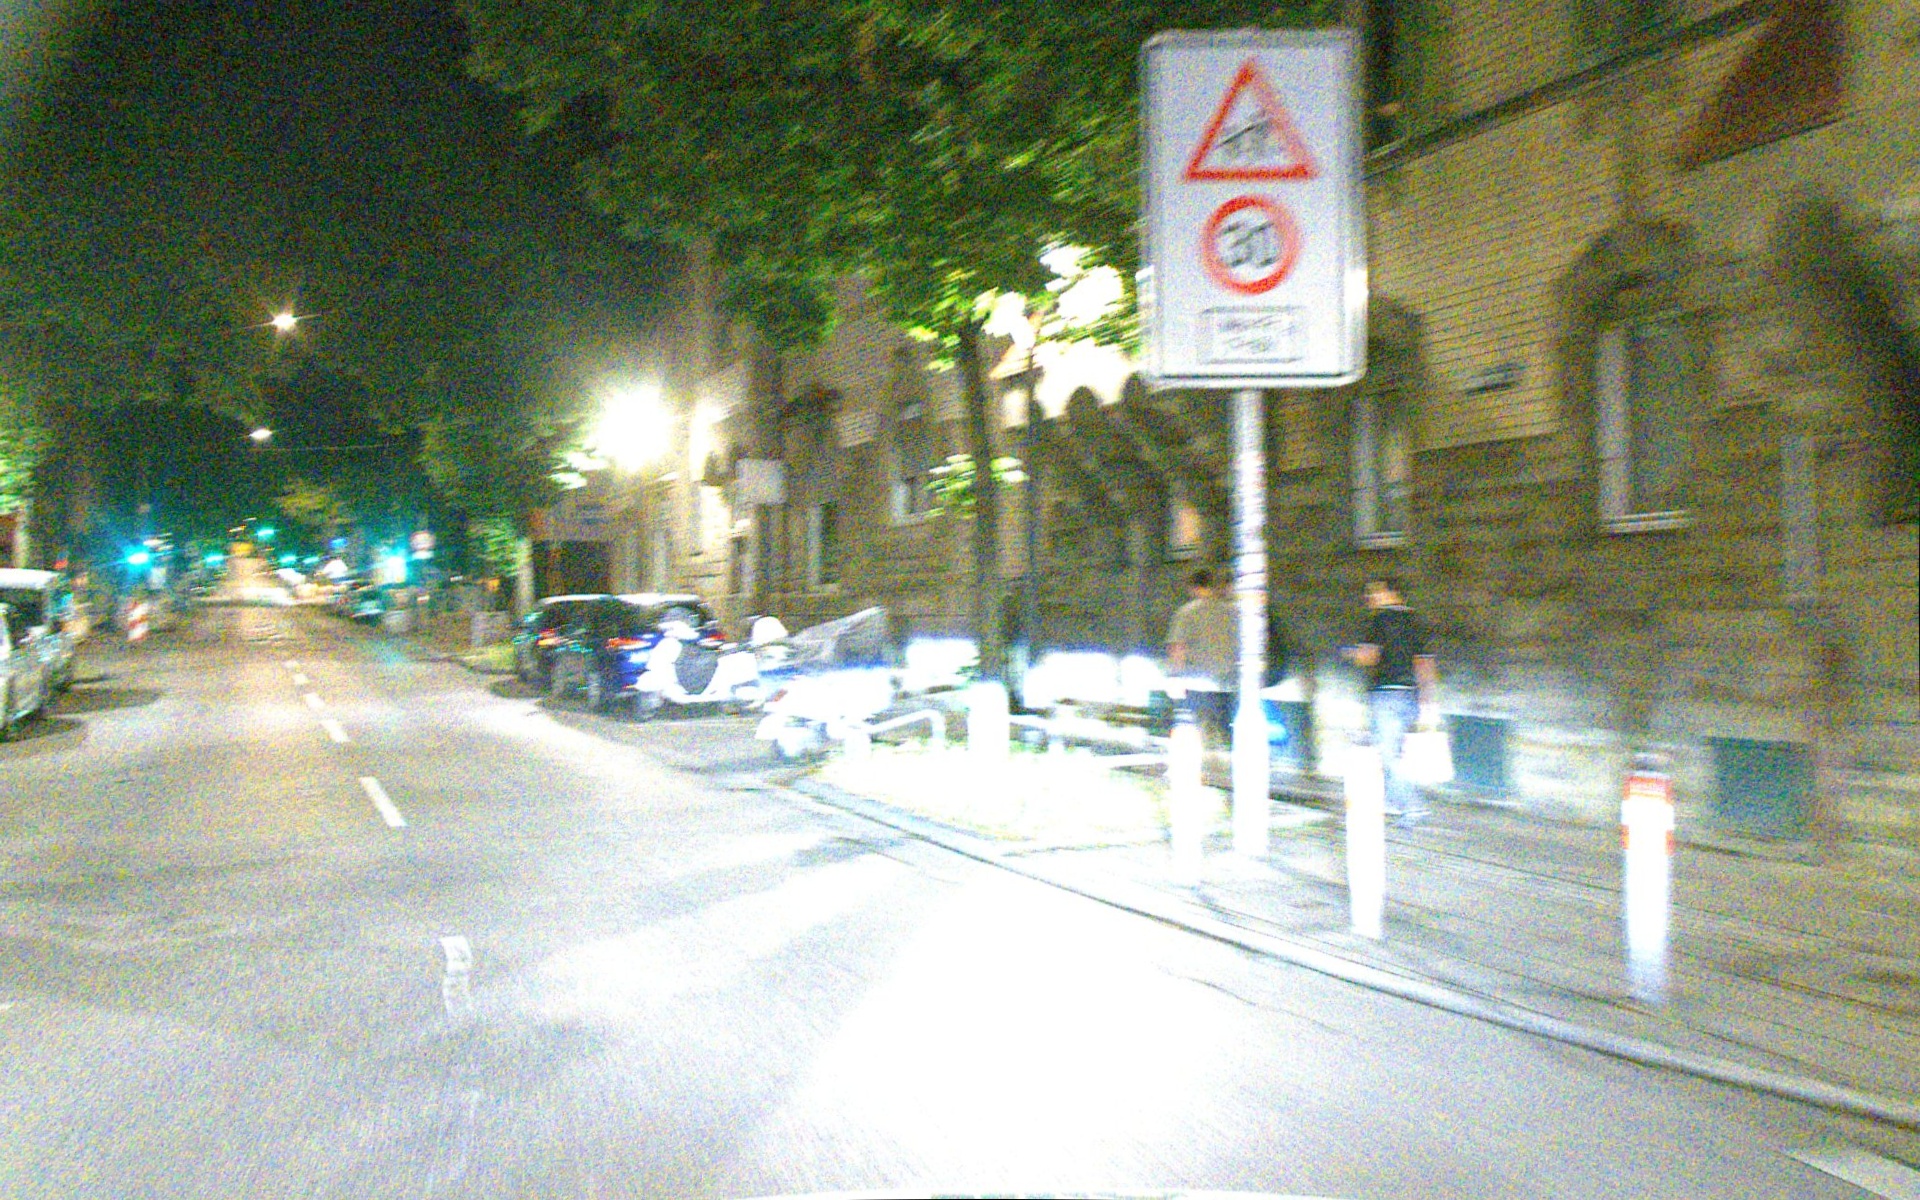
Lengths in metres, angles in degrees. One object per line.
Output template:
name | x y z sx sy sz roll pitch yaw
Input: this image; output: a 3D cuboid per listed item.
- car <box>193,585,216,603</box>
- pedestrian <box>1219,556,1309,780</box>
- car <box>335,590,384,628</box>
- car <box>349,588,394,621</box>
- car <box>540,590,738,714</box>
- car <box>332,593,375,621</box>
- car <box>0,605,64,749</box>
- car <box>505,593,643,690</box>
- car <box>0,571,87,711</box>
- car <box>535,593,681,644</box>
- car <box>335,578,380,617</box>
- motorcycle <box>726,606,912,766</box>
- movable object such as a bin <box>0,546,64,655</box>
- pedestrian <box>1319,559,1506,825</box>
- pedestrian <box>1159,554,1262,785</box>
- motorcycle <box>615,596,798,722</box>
car | -63.713 -0.525 139.538 1.649 1.468 4.174 0 1 -24
pedestrian | 2.428 0.526 13.234 0.470 1.739 0.567 0 0 -23
car | -25.908 0.346 71.287 1.716 1.503 3.972 -2 1 -23
car | -27.013 0.183 75.877 1.664 1.445 4.411 -1 1 -24
car | -4.532 0.641 22.813 1.710 1.527 4.432 0 0 -25
car | -31.640 0.352 86.269 1.706 1.444 4.287 0 0 -26
car | -11.622 0.796 18.982 1.814 1.475 4.847 1 -1 -22
car | -6.515 0.639 27.638 1.712 1.479 3.974 0 0 -21
car | -14.099 0.542 24.372 1.858 1.875 4.778 0 0 -24
car | -10.515 0.547 49.366 3.964 1.447 1.837 0 -1 -26
car | -29.686 -0.145 81.422 1.713 1.887 4.282 -1 1 -25
motorcycle | -1.284 0.757 15.493 0.746 1.377 1.940 0 0 31
movable object such as a bin | -24.046 -0.001 42.298 1.550 2.672 3.882 -1 0 -22
pedestrian | 2.968 0.580 10.906 0.795 1.659 0.960 0 -1 -20
pedestrian | 1.941 0.518 12.864 0.500 1.739 0.700 0 0 -23
motorcycle | -3.125 0.694 20.444 2.034 1.430 0.914 -2 1 -33
